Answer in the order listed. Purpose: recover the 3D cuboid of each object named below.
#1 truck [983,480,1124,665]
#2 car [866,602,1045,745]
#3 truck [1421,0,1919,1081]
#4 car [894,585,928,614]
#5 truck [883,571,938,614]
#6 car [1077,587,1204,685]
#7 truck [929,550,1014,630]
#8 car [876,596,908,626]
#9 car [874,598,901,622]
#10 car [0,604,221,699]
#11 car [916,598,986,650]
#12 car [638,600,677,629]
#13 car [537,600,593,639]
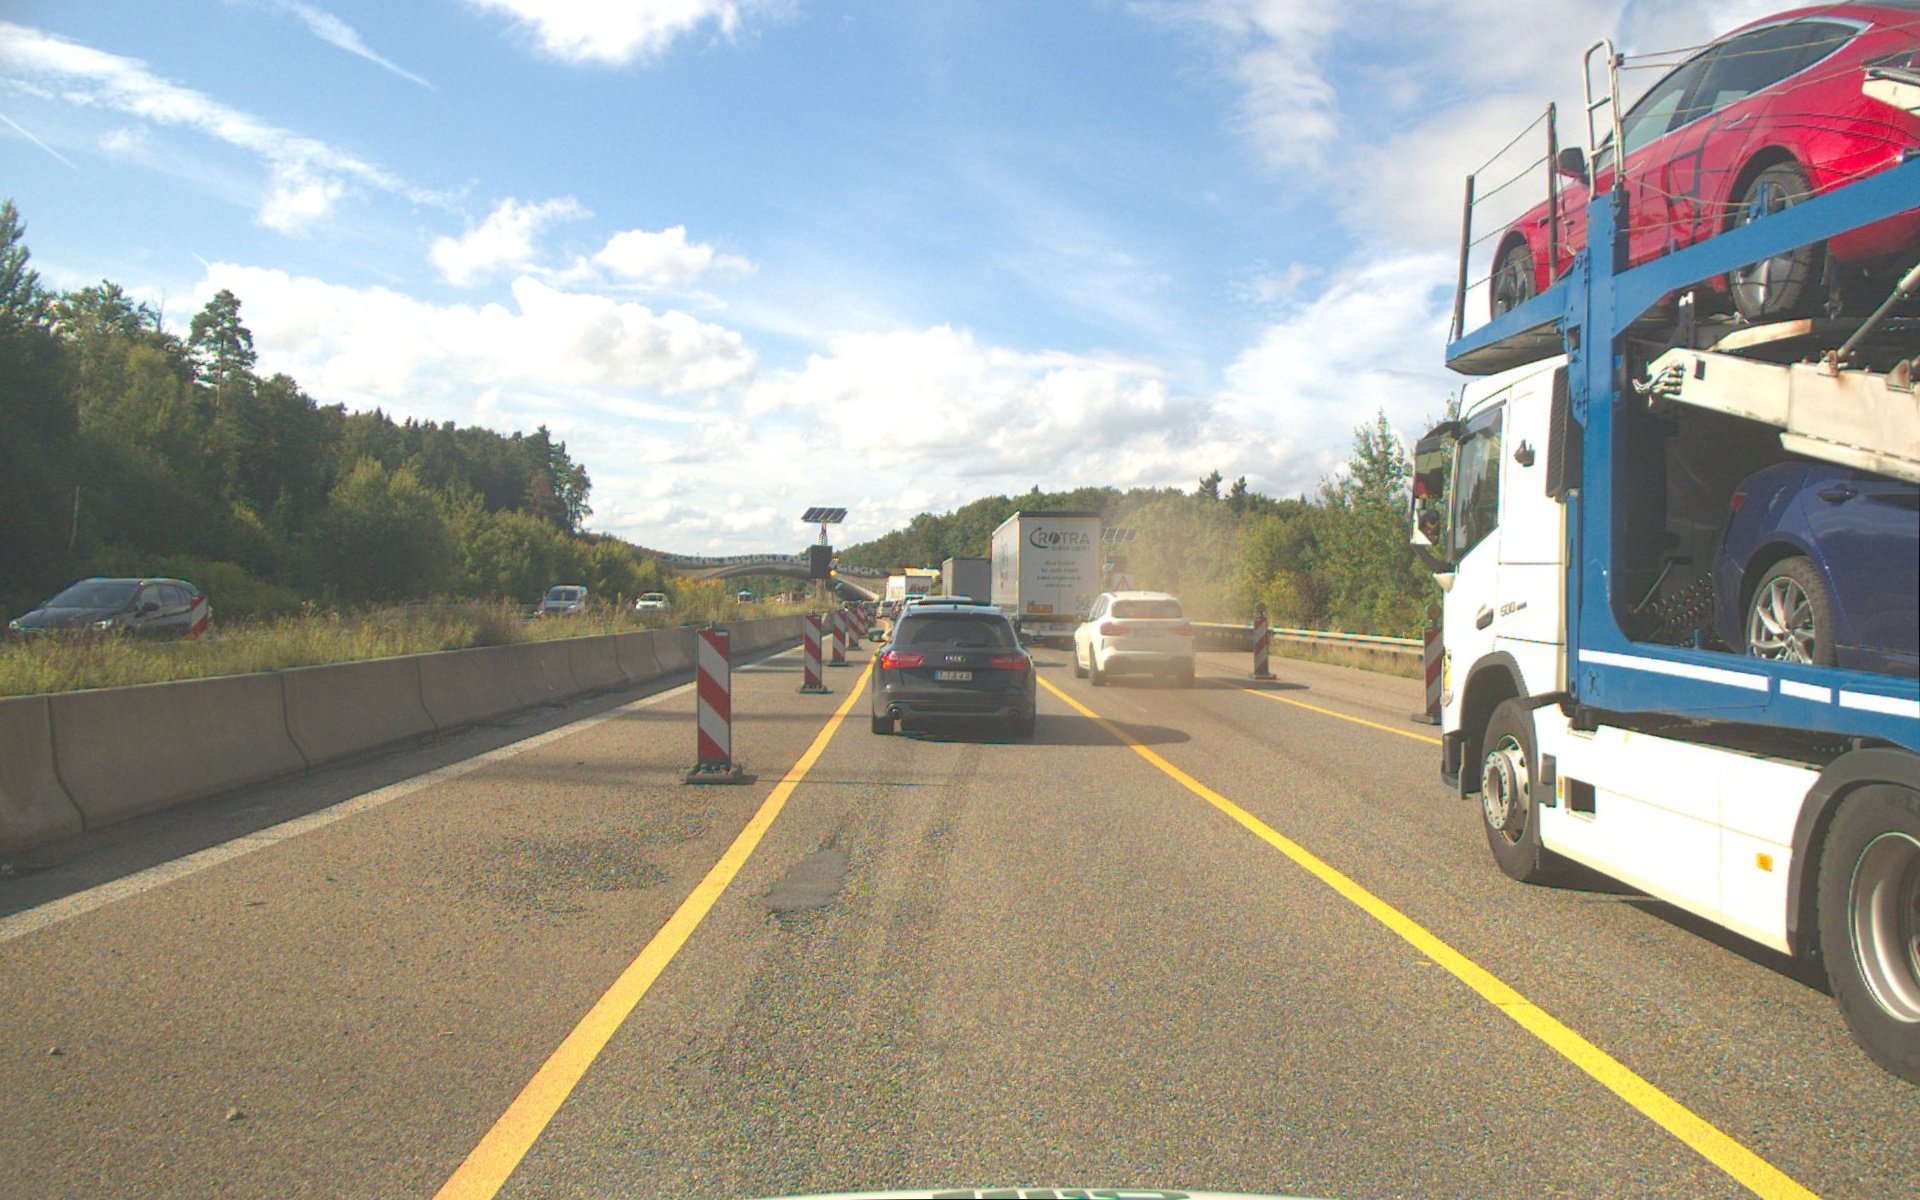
[{"bbox_3d":[2.909,-0.779,57.493,3.603,5.447,16.196,1,0,-1],"label":"truck"},{"bbox_3d":[-0.075,0.780,19.286,1.852,1.472,3.999,1,0,-1],"label":"car"},{"bbox_3d":[4.794,-0.624,6.369,3.685,4.270,7.949,1,0,-1],"label":"truck"},{"bbox_3d":[-2.941,-0.012,98.547,1.853,1.672,4.014,1,0,-4],"label":"car"},{"bbox_3d":[-4.909,-0.708,161.157,3.589,3.997,11.037,1,0,-11],"label":"truck"},{"bbox_3d":[3.300,0.636,30.869,1.852,1.672,4.017,1,0,-1],"label":"car"},{"bbox_3d":[0.588,-0.557,103.446,4.235,4.681,11.112,1,0,-5],"label":"truck"},{"bbox_3d":[-4.860,0.795,117.423,1.955,2.049,3.995,1,0,-6],"label":"car"},{"bbox_3d":[-6.439,0.880,146.562,1.956,2.049,3.992,1,0,-8],"label":"car"},{"bbox_3d":[-14.450,0.832,28.348,1.742,1.482,4.103,1,0,-1],"label":"car"},{"bbox_3d":[-0.309,0.715,49.678,1.853,1.472,3.997,1,0,-4],"label":"car"},{"bbox_3d":[-19.769,0.966,108.268,1.742,1.817,4.364,1,0,-1],"label":"car"},{"bbox_3d":[-19.400,0.945,81.374,1.742,1.817,4.364,1,0,-1],"label":"car"}]
